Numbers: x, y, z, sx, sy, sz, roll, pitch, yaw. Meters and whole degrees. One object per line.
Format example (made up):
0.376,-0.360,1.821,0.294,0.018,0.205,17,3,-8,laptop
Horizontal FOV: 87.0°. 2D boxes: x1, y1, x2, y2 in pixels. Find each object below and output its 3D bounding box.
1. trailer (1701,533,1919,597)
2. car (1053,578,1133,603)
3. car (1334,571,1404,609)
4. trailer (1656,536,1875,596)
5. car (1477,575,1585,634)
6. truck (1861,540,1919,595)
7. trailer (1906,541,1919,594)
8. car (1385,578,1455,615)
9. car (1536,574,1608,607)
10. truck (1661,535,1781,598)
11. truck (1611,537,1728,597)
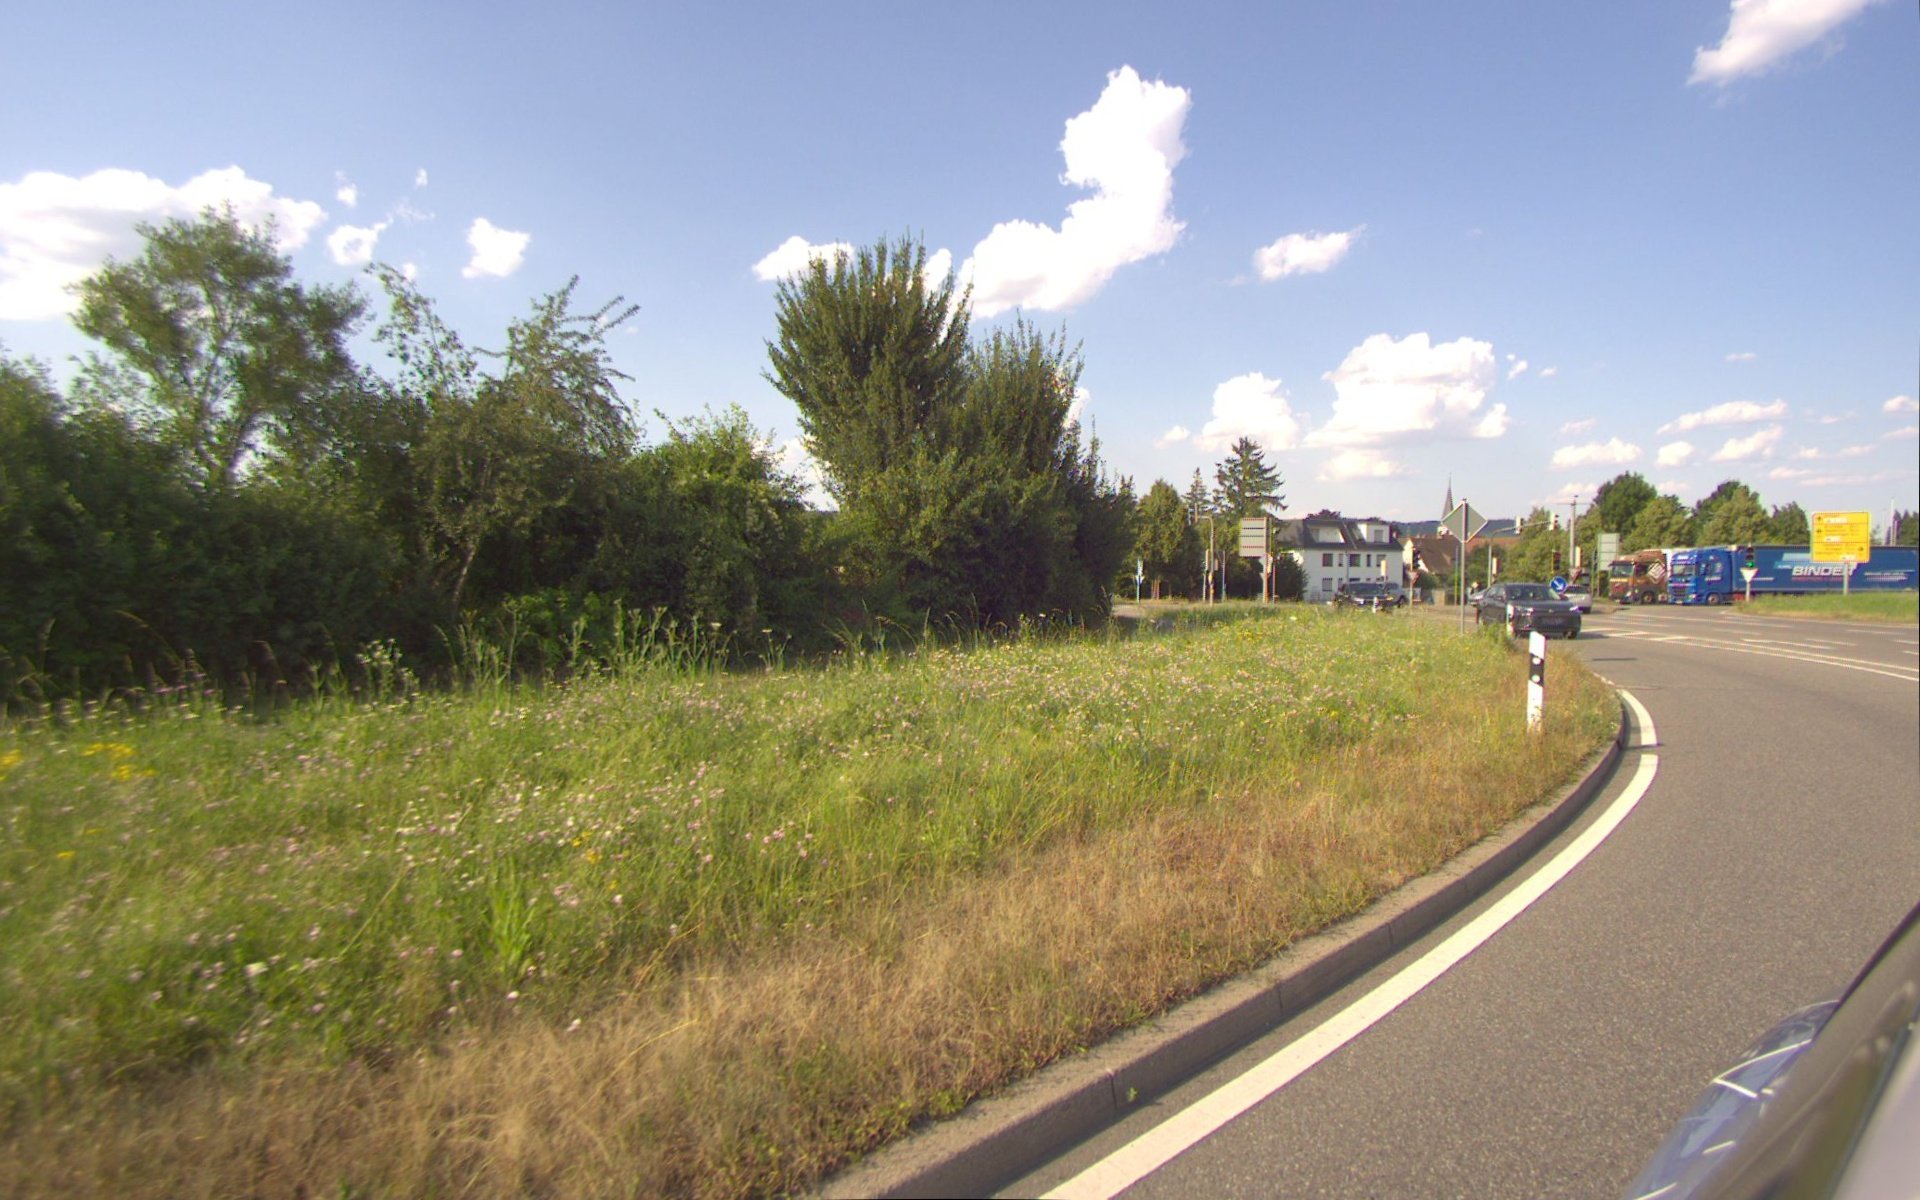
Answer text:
58.381,-2.334,68.991,13.478,4.056,3.421,-1,0,-4,trailer
8.705,-0.630,66.480,4.855,1.533,1.864,-1,0,-4,car
18.949,-0.443,47.082,1.745,1.633,4.540,-1,0,6,car
57.646,-2.400,72.552,14.053,4.118,2.542,-1,0,-3,trailer
17.388,0.118,31.064,1.763,1.650,4.448,-1,0,15,car
68.505,-2.357,72.702,5.573,3.853,2.264,-1,0,-4,truck
73.883,-2.441,73.023,9.336,3.826,2.267,-1,-1,-4,trailer
27.587,-0.222,60.614,4.292,1.972,1.907,-3,0,-37,car
31.420,-0.465,52.087,1.792,1.548,4.336,-1,-2,12,car
51.422,-2.204,68.514,5.491,4.056,3.379,-1,0,-4,truck
50.494,-2.307,72.131,6.531,4.095,2.541,-1,0,-3,truck
